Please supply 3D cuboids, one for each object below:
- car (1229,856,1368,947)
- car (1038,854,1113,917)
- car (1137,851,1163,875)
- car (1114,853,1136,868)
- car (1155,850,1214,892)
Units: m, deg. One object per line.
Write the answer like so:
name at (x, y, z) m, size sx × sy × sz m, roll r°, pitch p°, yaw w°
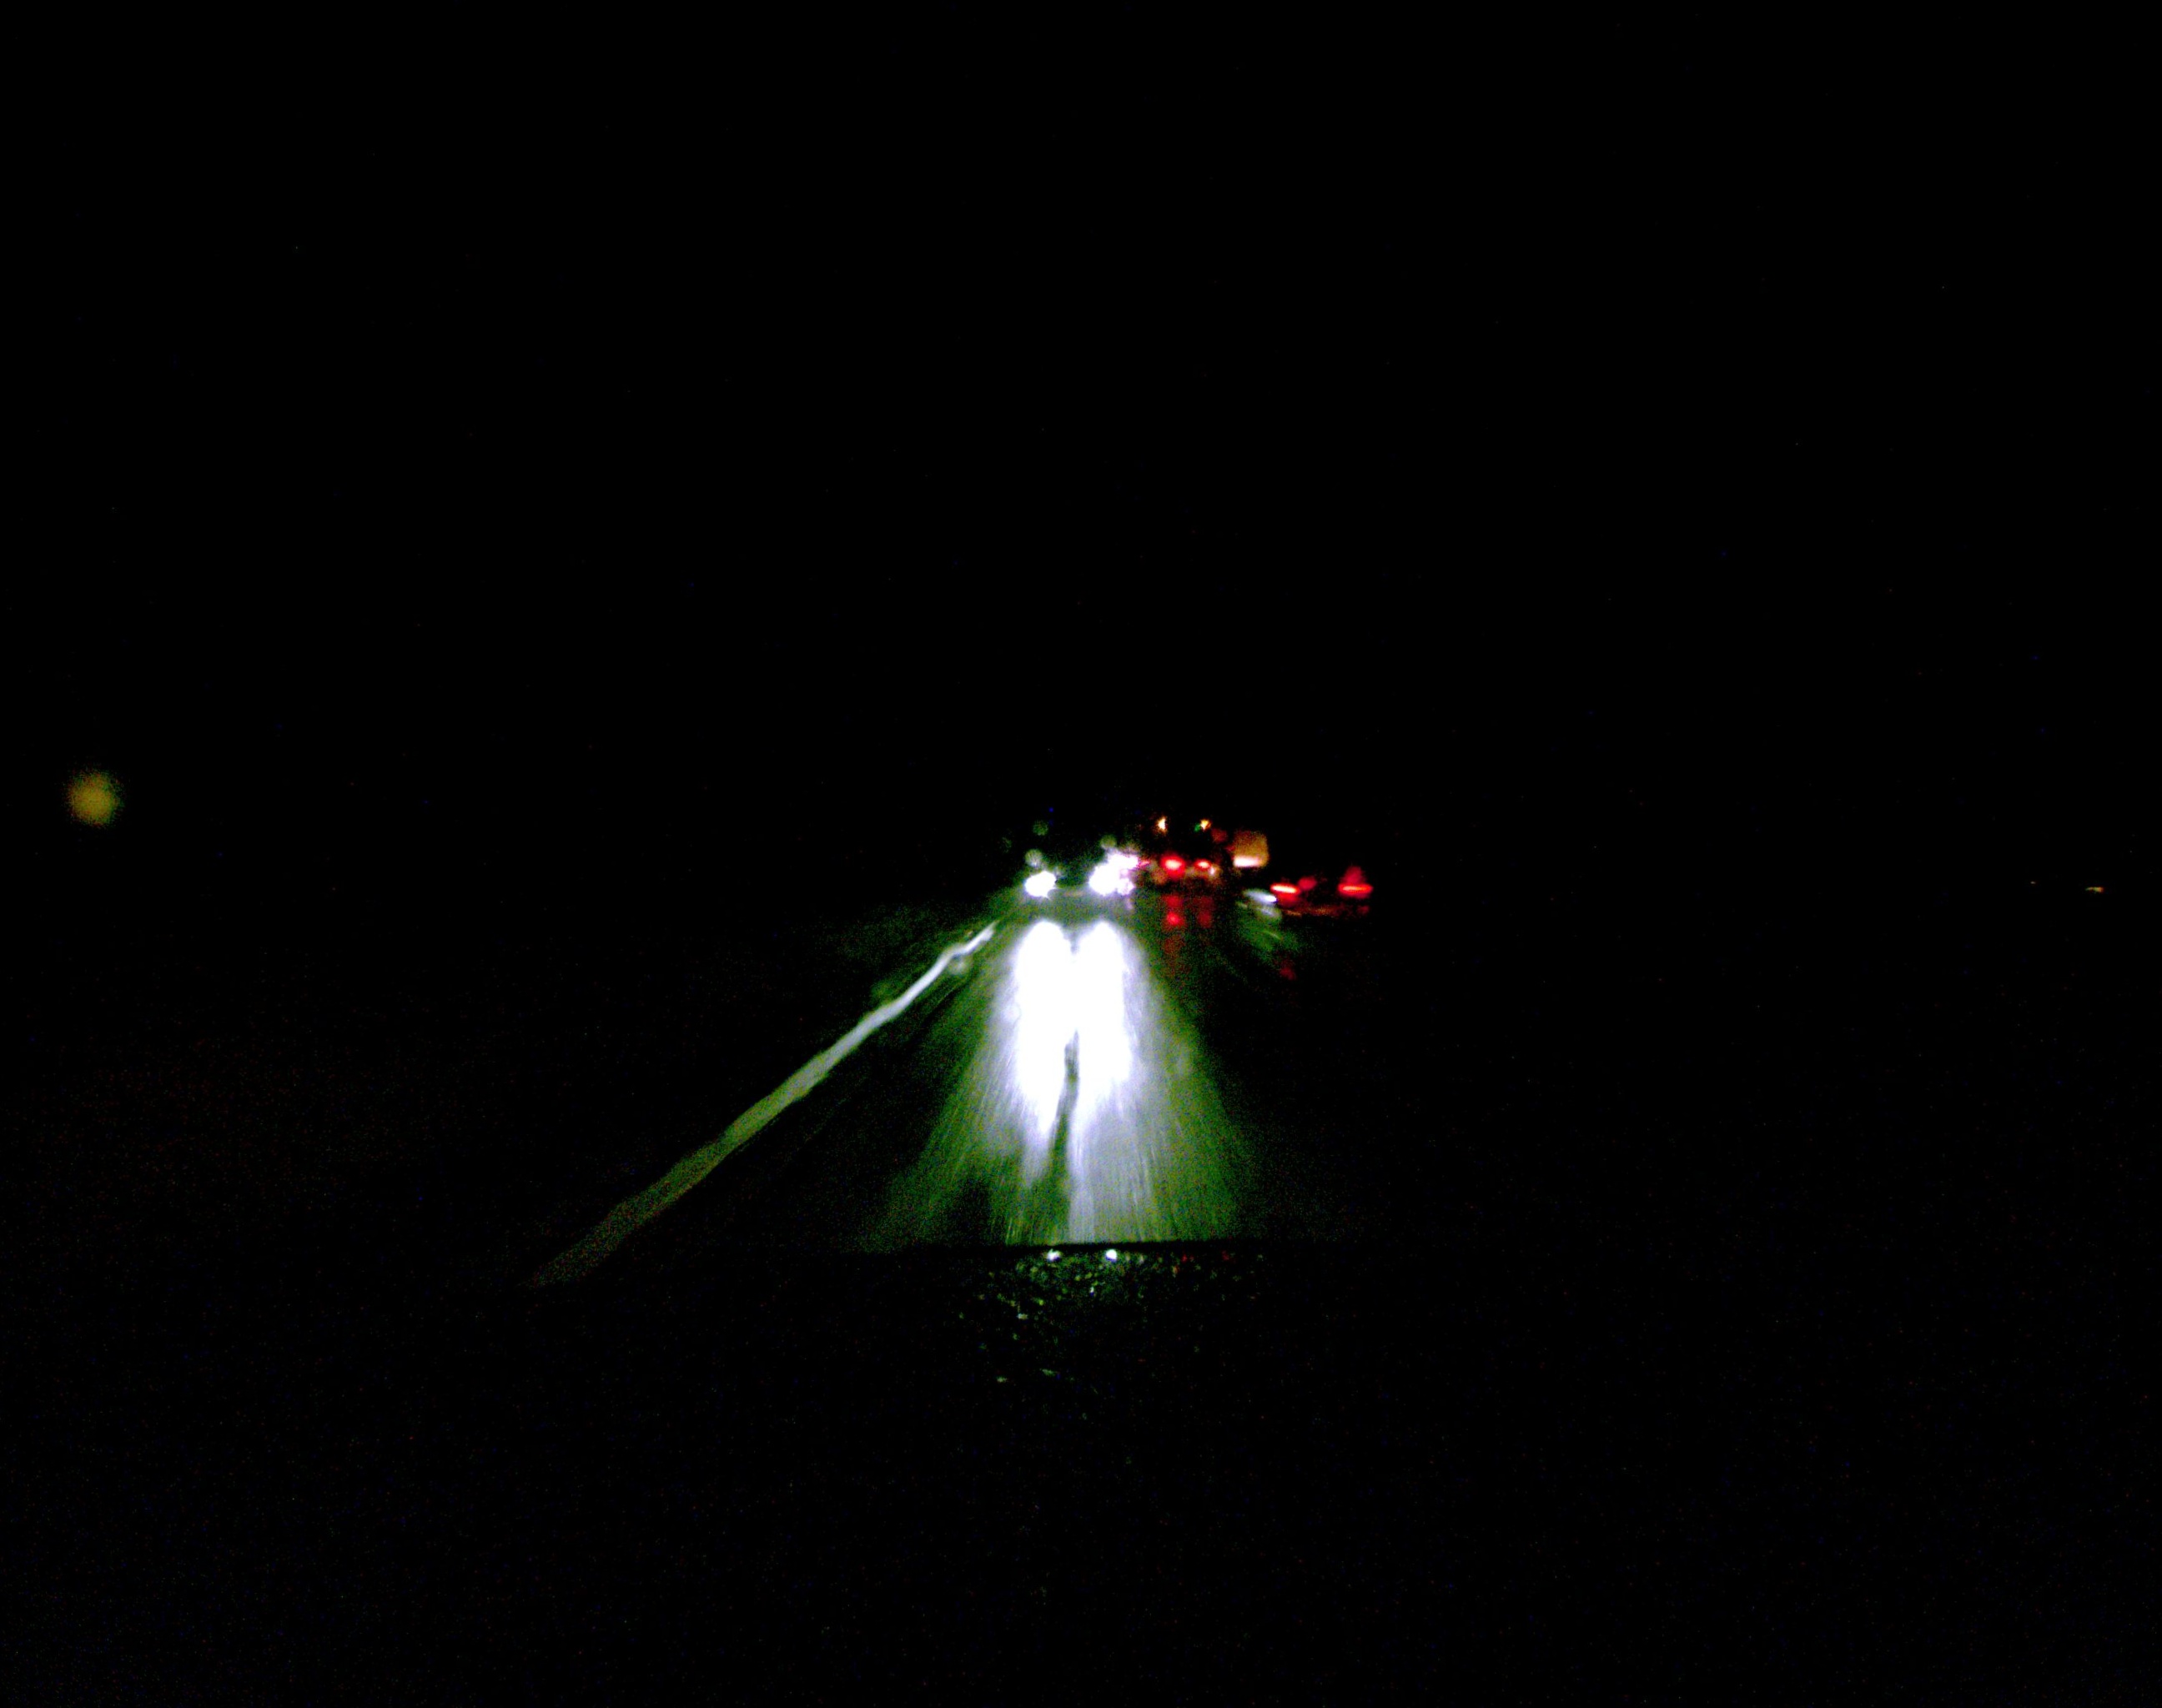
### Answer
car at (3.885, 0.775, 14.114) m, size 1.602 × 1.416 × 3.552 m, roll -1°, pitch 1°, yaw 1°
car at (-0.086, 0.793, 21.325) m, size 1.901 × 1.552 × 4.000 m, roll -1°, pitch 1°, yaw 2°
car at (4.916, 0.641, 54.583) m, size 1.644 × 1.605 × 3.732 m, roll 1°, pitch 0°, yaw 3°
car at (4.787, 0.683, 81.967) m, size 1.900 × 1.552 × 4.003 m, roll -1°, pitch 1°, yaw 10°
car at (4.106, 0.638, 30.746) m, size 1.807 × 1.563 × 4.190 m, roll -1°, pitch 1°, yaw 0°
